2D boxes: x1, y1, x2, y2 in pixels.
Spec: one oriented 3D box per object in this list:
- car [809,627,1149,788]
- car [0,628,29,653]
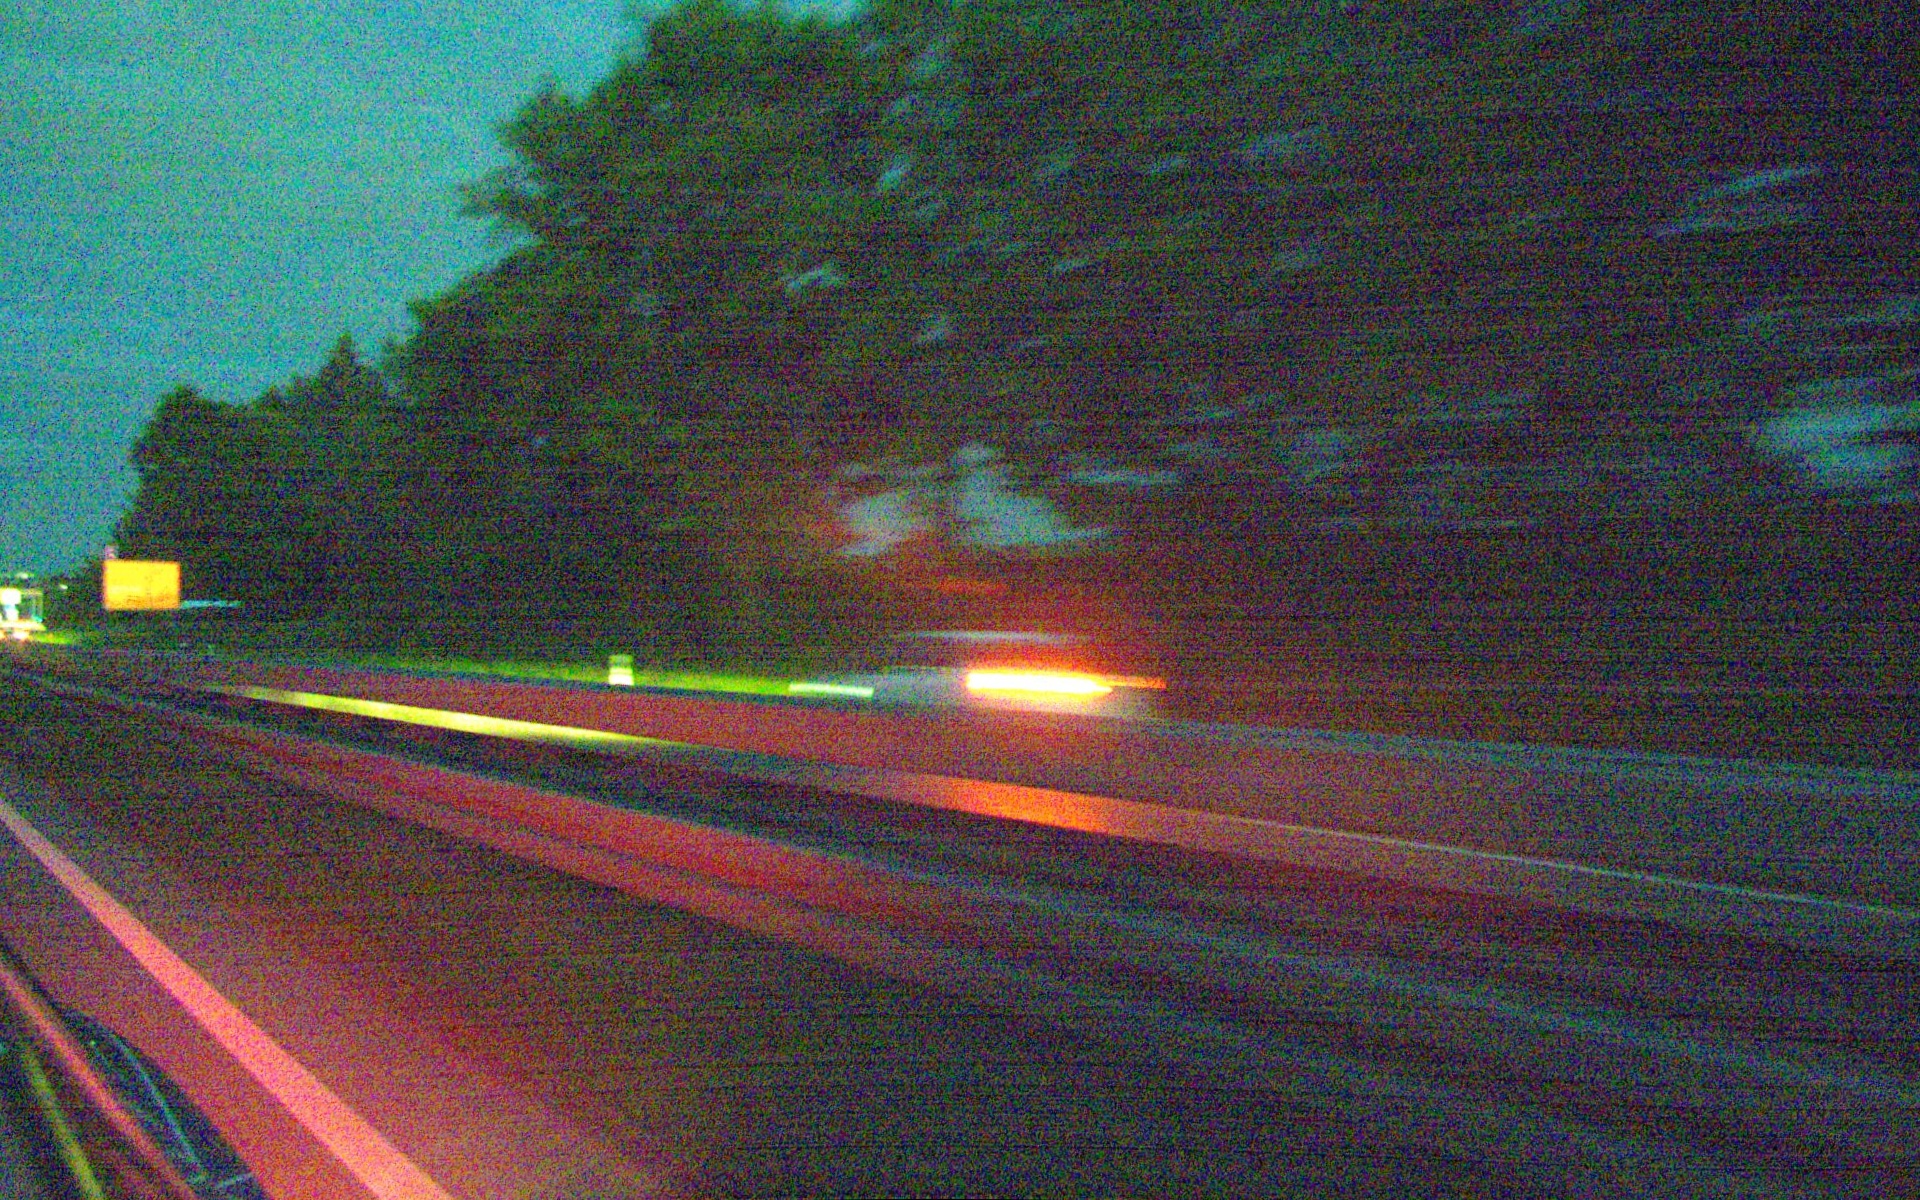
[{"bbox_3d":[0.112,1.112,11.909,3.867,1.518,1.601,-1,0,41],"label":"car"},{"bbox_3d":[-65.117,2.744,69.230,4.164,1.599,1.665,-1,-1,41],"label":"car"}]
